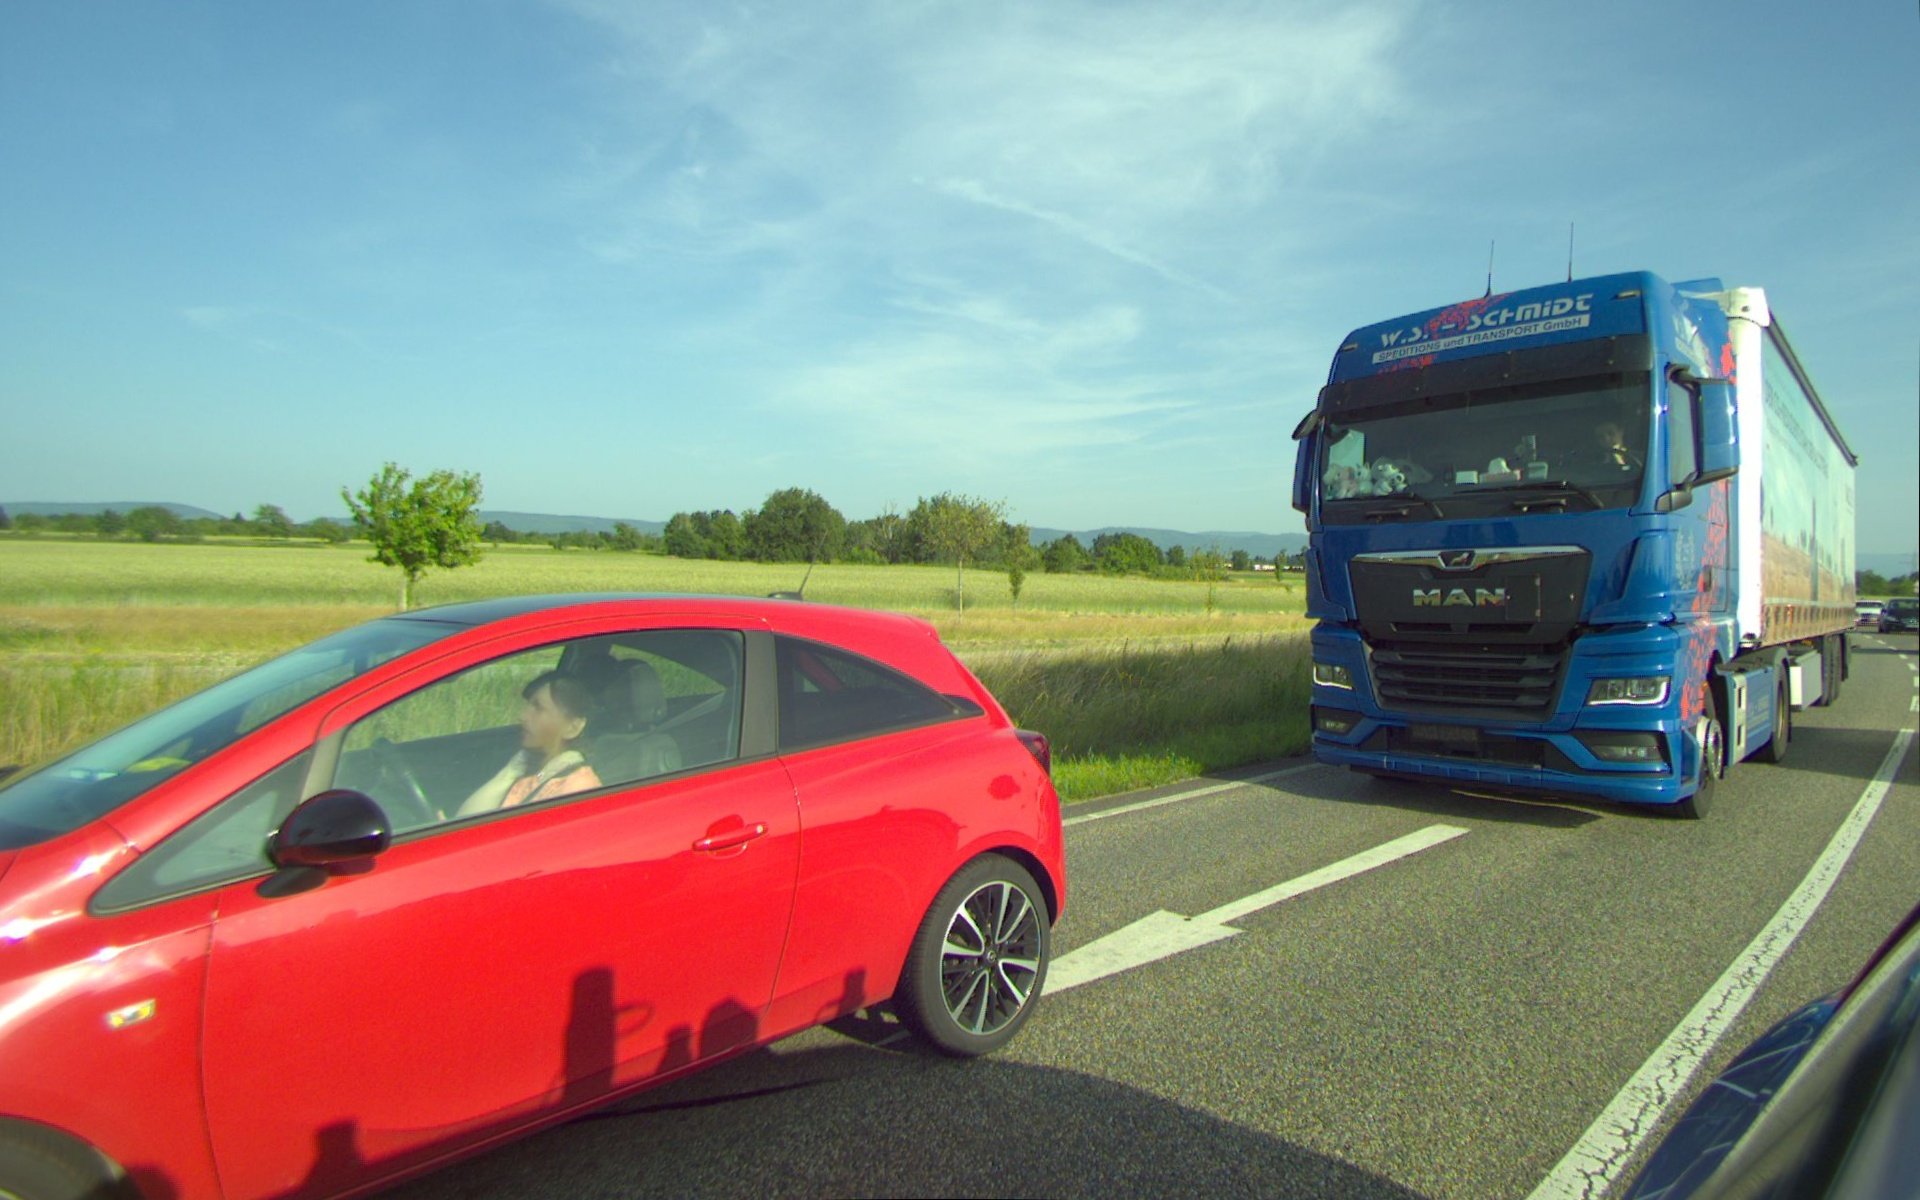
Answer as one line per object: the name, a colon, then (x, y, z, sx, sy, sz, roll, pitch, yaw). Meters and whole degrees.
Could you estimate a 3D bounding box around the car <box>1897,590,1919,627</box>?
car: (42.129, 0.367, 44.223, 1.551, 1.579, 3.005, 2, 1, 40)

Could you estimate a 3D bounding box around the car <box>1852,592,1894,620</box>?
car: (50.460, 0.314, 55.956, 1.551, 1.417, 3.977, 2, 1, 40)

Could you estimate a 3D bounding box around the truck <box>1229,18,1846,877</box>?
truck: (5.239, -0.879, 8.744, 3.301, 4.716, 5.640, 0, 1, 45)

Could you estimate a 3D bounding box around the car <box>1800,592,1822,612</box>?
car: (83.460, 0.166, 99.282, 1.551, 1.944, 3.977, 2, 1, 40)

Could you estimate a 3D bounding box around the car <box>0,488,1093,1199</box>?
car: (-1.445, 0.580, 2.873, 3.689, 1.568, 1.698, 0, 2, -44)

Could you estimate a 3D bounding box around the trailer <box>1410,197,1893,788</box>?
trailer: (10.337, -0.962, 13.921, 3.282, 4.740, 12.937, 0, 1, 44)
